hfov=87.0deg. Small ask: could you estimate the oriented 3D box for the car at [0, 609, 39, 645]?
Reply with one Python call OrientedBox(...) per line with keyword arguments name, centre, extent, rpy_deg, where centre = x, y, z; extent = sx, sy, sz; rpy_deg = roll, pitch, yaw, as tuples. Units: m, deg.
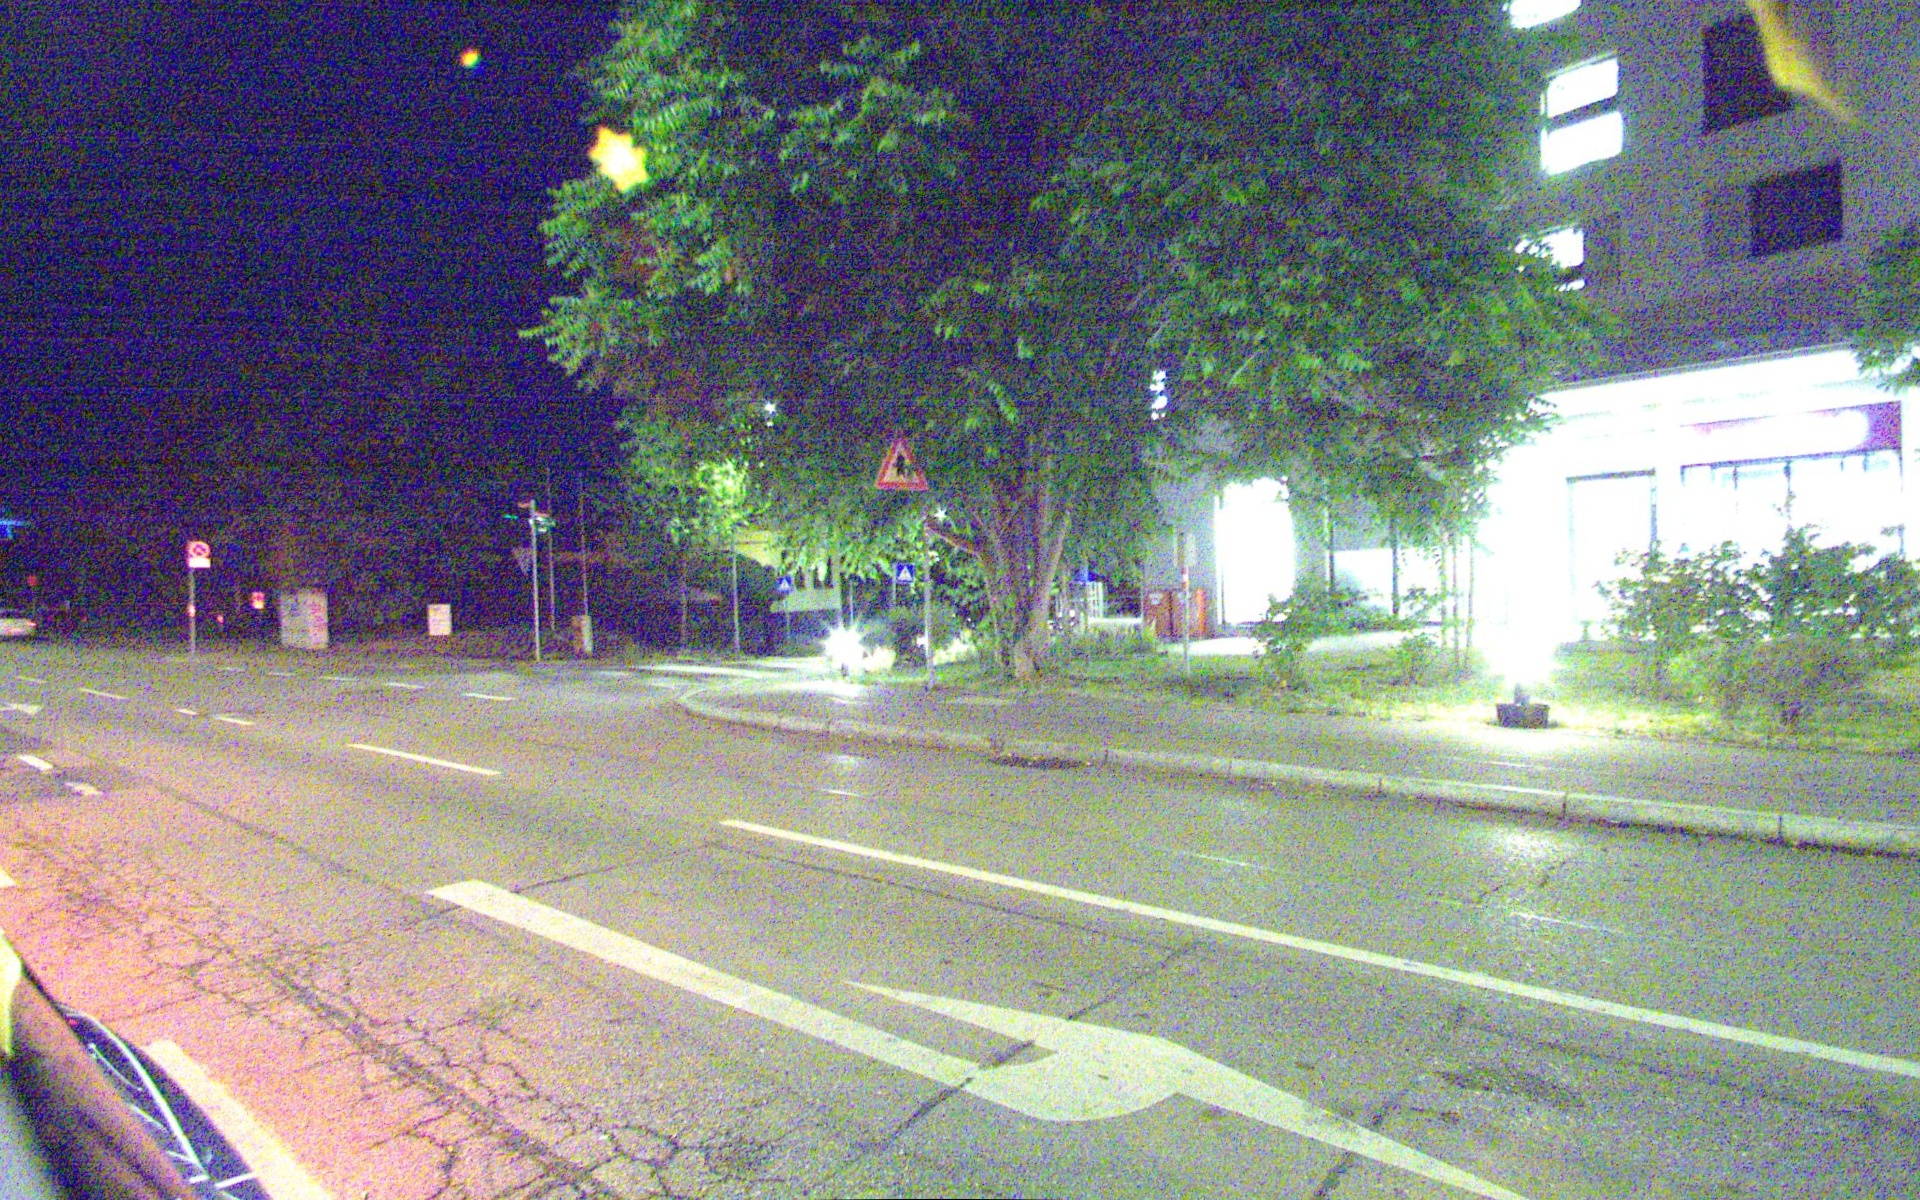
OrientedBox(name="car", centre=(-43.258, 1.203, 45.792), extent=(3.998, 1.464, 1.887), rpy_deg=(1, 2, 41))
